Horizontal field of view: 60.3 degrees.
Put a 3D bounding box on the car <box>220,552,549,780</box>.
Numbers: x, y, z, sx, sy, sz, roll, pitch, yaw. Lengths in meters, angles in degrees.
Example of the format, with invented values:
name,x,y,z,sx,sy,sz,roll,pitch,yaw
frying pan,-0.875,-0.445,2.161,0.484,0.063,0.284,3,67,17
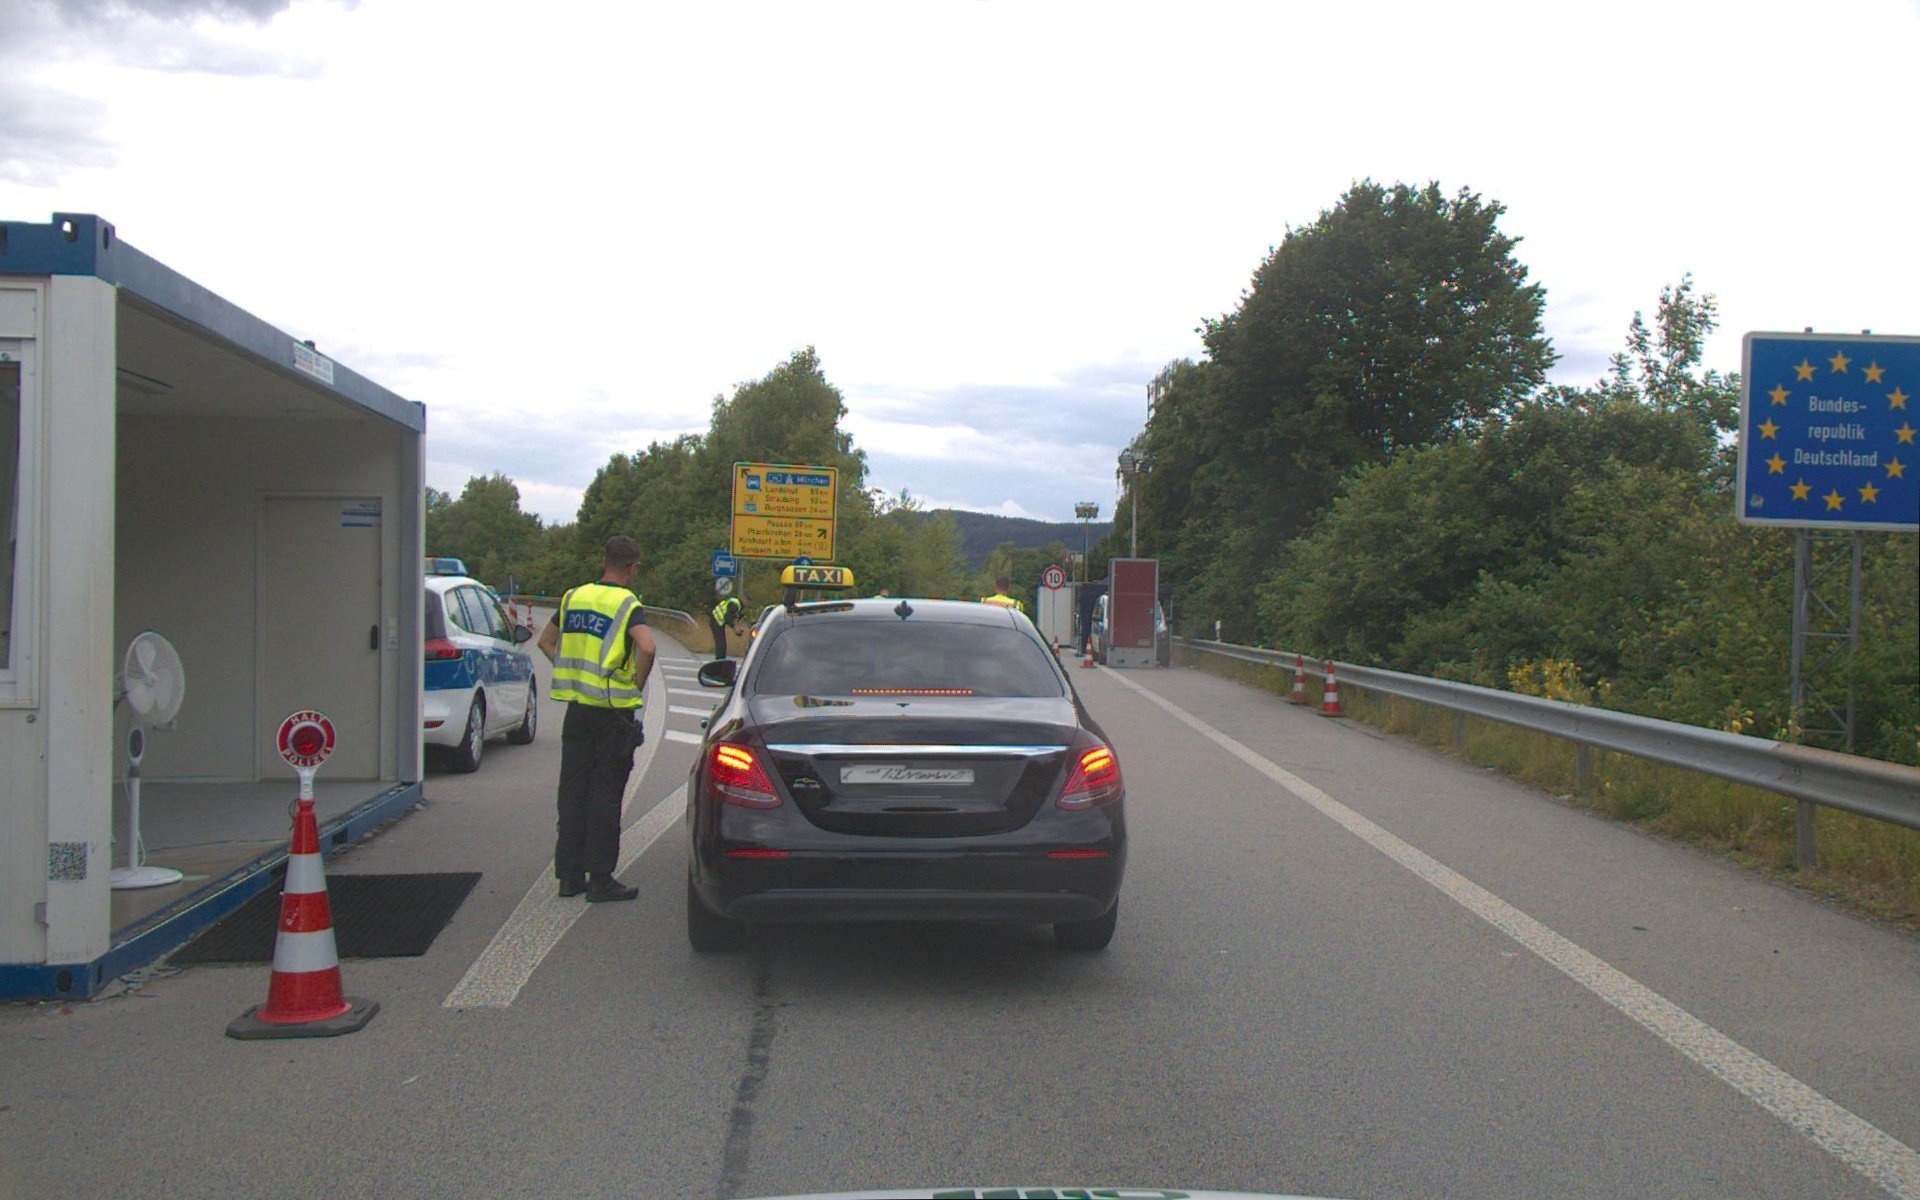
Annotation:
name,x,y,z,sx,sy,sz,roll,pitch,yaw
car,-4.989,0.515,14.931,1.832,1.774,4.004,1,0,-5

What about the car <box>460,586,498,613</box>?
name,x,y,z,sx,sy,sz,roll,pitch,yaw
car,-27.404,-0.037,94.183,1.827,1.524,4.233,1,0,-19

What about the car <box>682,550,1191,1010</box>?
name,x,y,z,sx,sy,sz,roll,pitch,yaw
car,-0.271,0.637,8.110,1.819,1.623,4.370,1,0,-5

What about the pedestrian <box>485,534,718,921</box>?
name,x,y,z,sx,sy,sz,roll,pitch,yaw
pedestrian,-1.733,0.576,8.026,0.747,1.748,0.815,0,0,36

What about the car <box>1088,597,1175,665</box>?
name,x,y,z,sx,sy,sz,roll,pitch,yaw
car,4.684,0.804,45.852,1.877,1.707,5.083,2,0,1

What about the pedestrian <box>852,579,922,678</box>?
name,x,y,z,sx,sy,sz,roll,pitch,yaw
pedestrian,-1.303,0.498,29.367,0.900,1.727,0.903,1,-1,-32

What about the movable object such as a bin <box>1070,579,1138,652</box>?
name,x,y,z,sx,sy,sz,roll,pitch,yaw
movable object such as a bin,4.713,0.492,54.696,1.952,2.320,4.168,1,0,1

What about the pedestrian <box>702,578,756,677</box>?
name,x,y,z,sx,sy,sz,roll,pitch,yaw
pedestrian,-4.265,0.501,30.547,0.893,1.800,0.911,1,0,-4

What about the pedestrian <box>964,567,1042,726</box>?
name,x,y,z,sx,sy,sz,roll,pitch,yaw
pedestrian,0.527,0.542,19.815,0.795,1.862,0.810,0,0,12

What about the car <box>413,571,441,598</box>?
name,x,y,z,sx,sy,sz,roll,pitch,yaw
car,-45.809,-1.285,142.026,1.831,2.261,4.224,1,0,-24

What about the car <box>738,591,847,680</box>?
name,x,y,z,sx,sy,sz,roll,pitch,yaw
car,-3.037,0.610,30.722,1.818,1.524,4.253,1,0,-4
